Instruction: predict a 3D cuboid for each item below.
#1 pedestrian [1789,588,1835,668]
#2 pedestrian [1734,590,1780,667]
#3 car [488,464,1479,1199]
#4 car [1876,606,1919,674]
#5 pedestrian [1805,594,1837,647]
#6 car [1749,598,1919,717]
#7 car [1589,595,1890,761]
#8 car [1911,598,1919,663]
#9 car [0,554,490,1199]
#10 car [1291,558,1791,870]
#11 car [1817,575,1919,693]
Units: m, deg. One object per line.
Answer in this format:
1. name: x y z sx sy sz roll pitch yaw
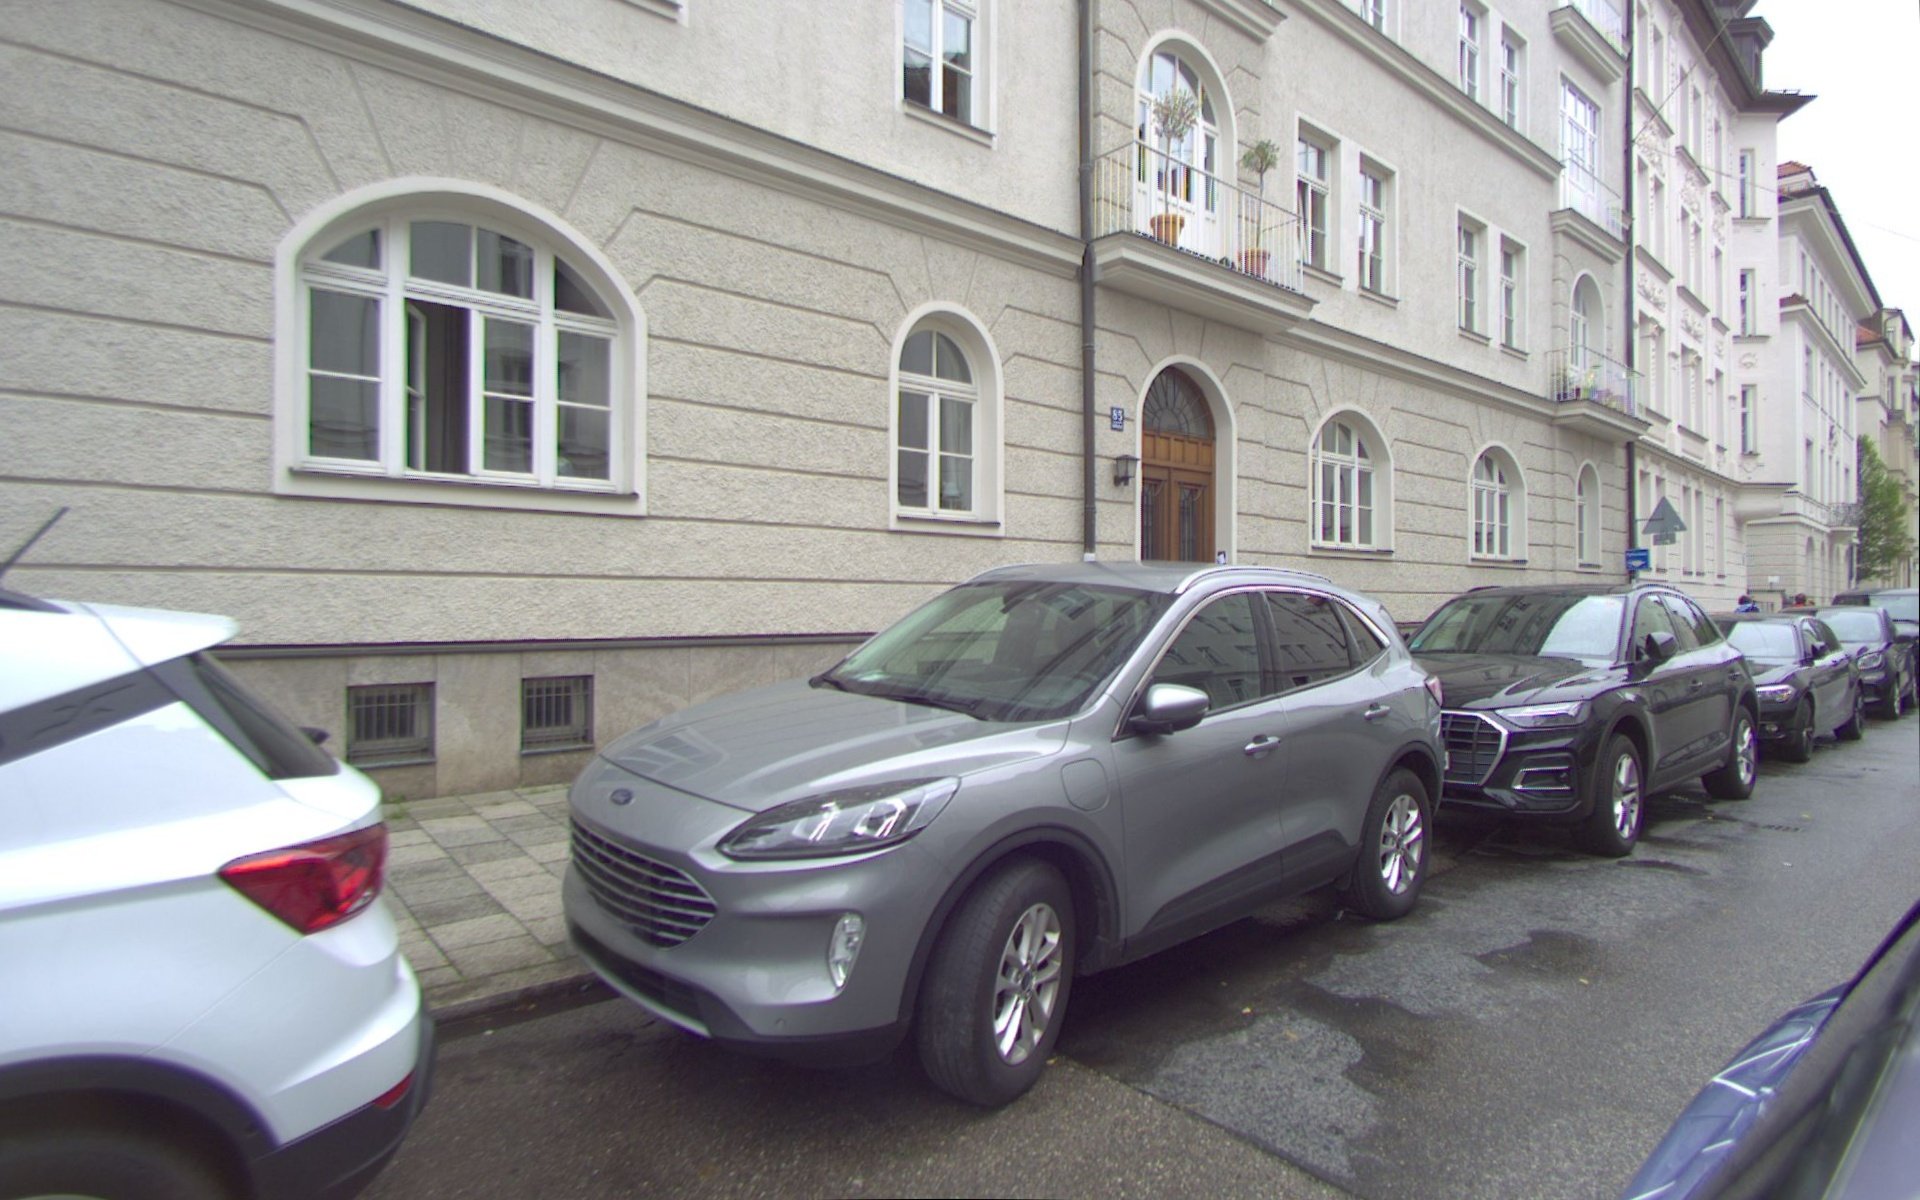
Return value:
1. pedestrian: 19.084 0.618 22.671 0.692 1.750 0.703 1 0 -44
2. pedestrian: 17.992 0.633 22.853 0.643 1.695 0.680 1 1 -44
3. car: 0.507 0.555 4.443 4.351 1.735 1.791 0 0 -43
4. car: 21.545 0.827 22.204 3.518 1.413 1.666 0 -2 -40
5. pedestrian: 28.767 0.685 33.801 0.798 1.700 0.683 1 1 -43
6. car: 13.053 0.765 14.906 3.574 1.545 1.657 1 -1 -42
7. car: 8.634 0.711 11.090 4.125 1.489 1.710 1 0 -39
8. car: 25.653 0.764 25.908 3.934 1.608 1.708 1 -2 -44
9. car: -2.911 0.690 1.294 1.751 1.515 3.846 0 0 45
10. car: 4.439 0.627 7.454 4.296 1.657 1.780 0 -1 -40
11. car: 17.116 0.564 18.245 4.633 1.910 1.912 0 -2 -43
